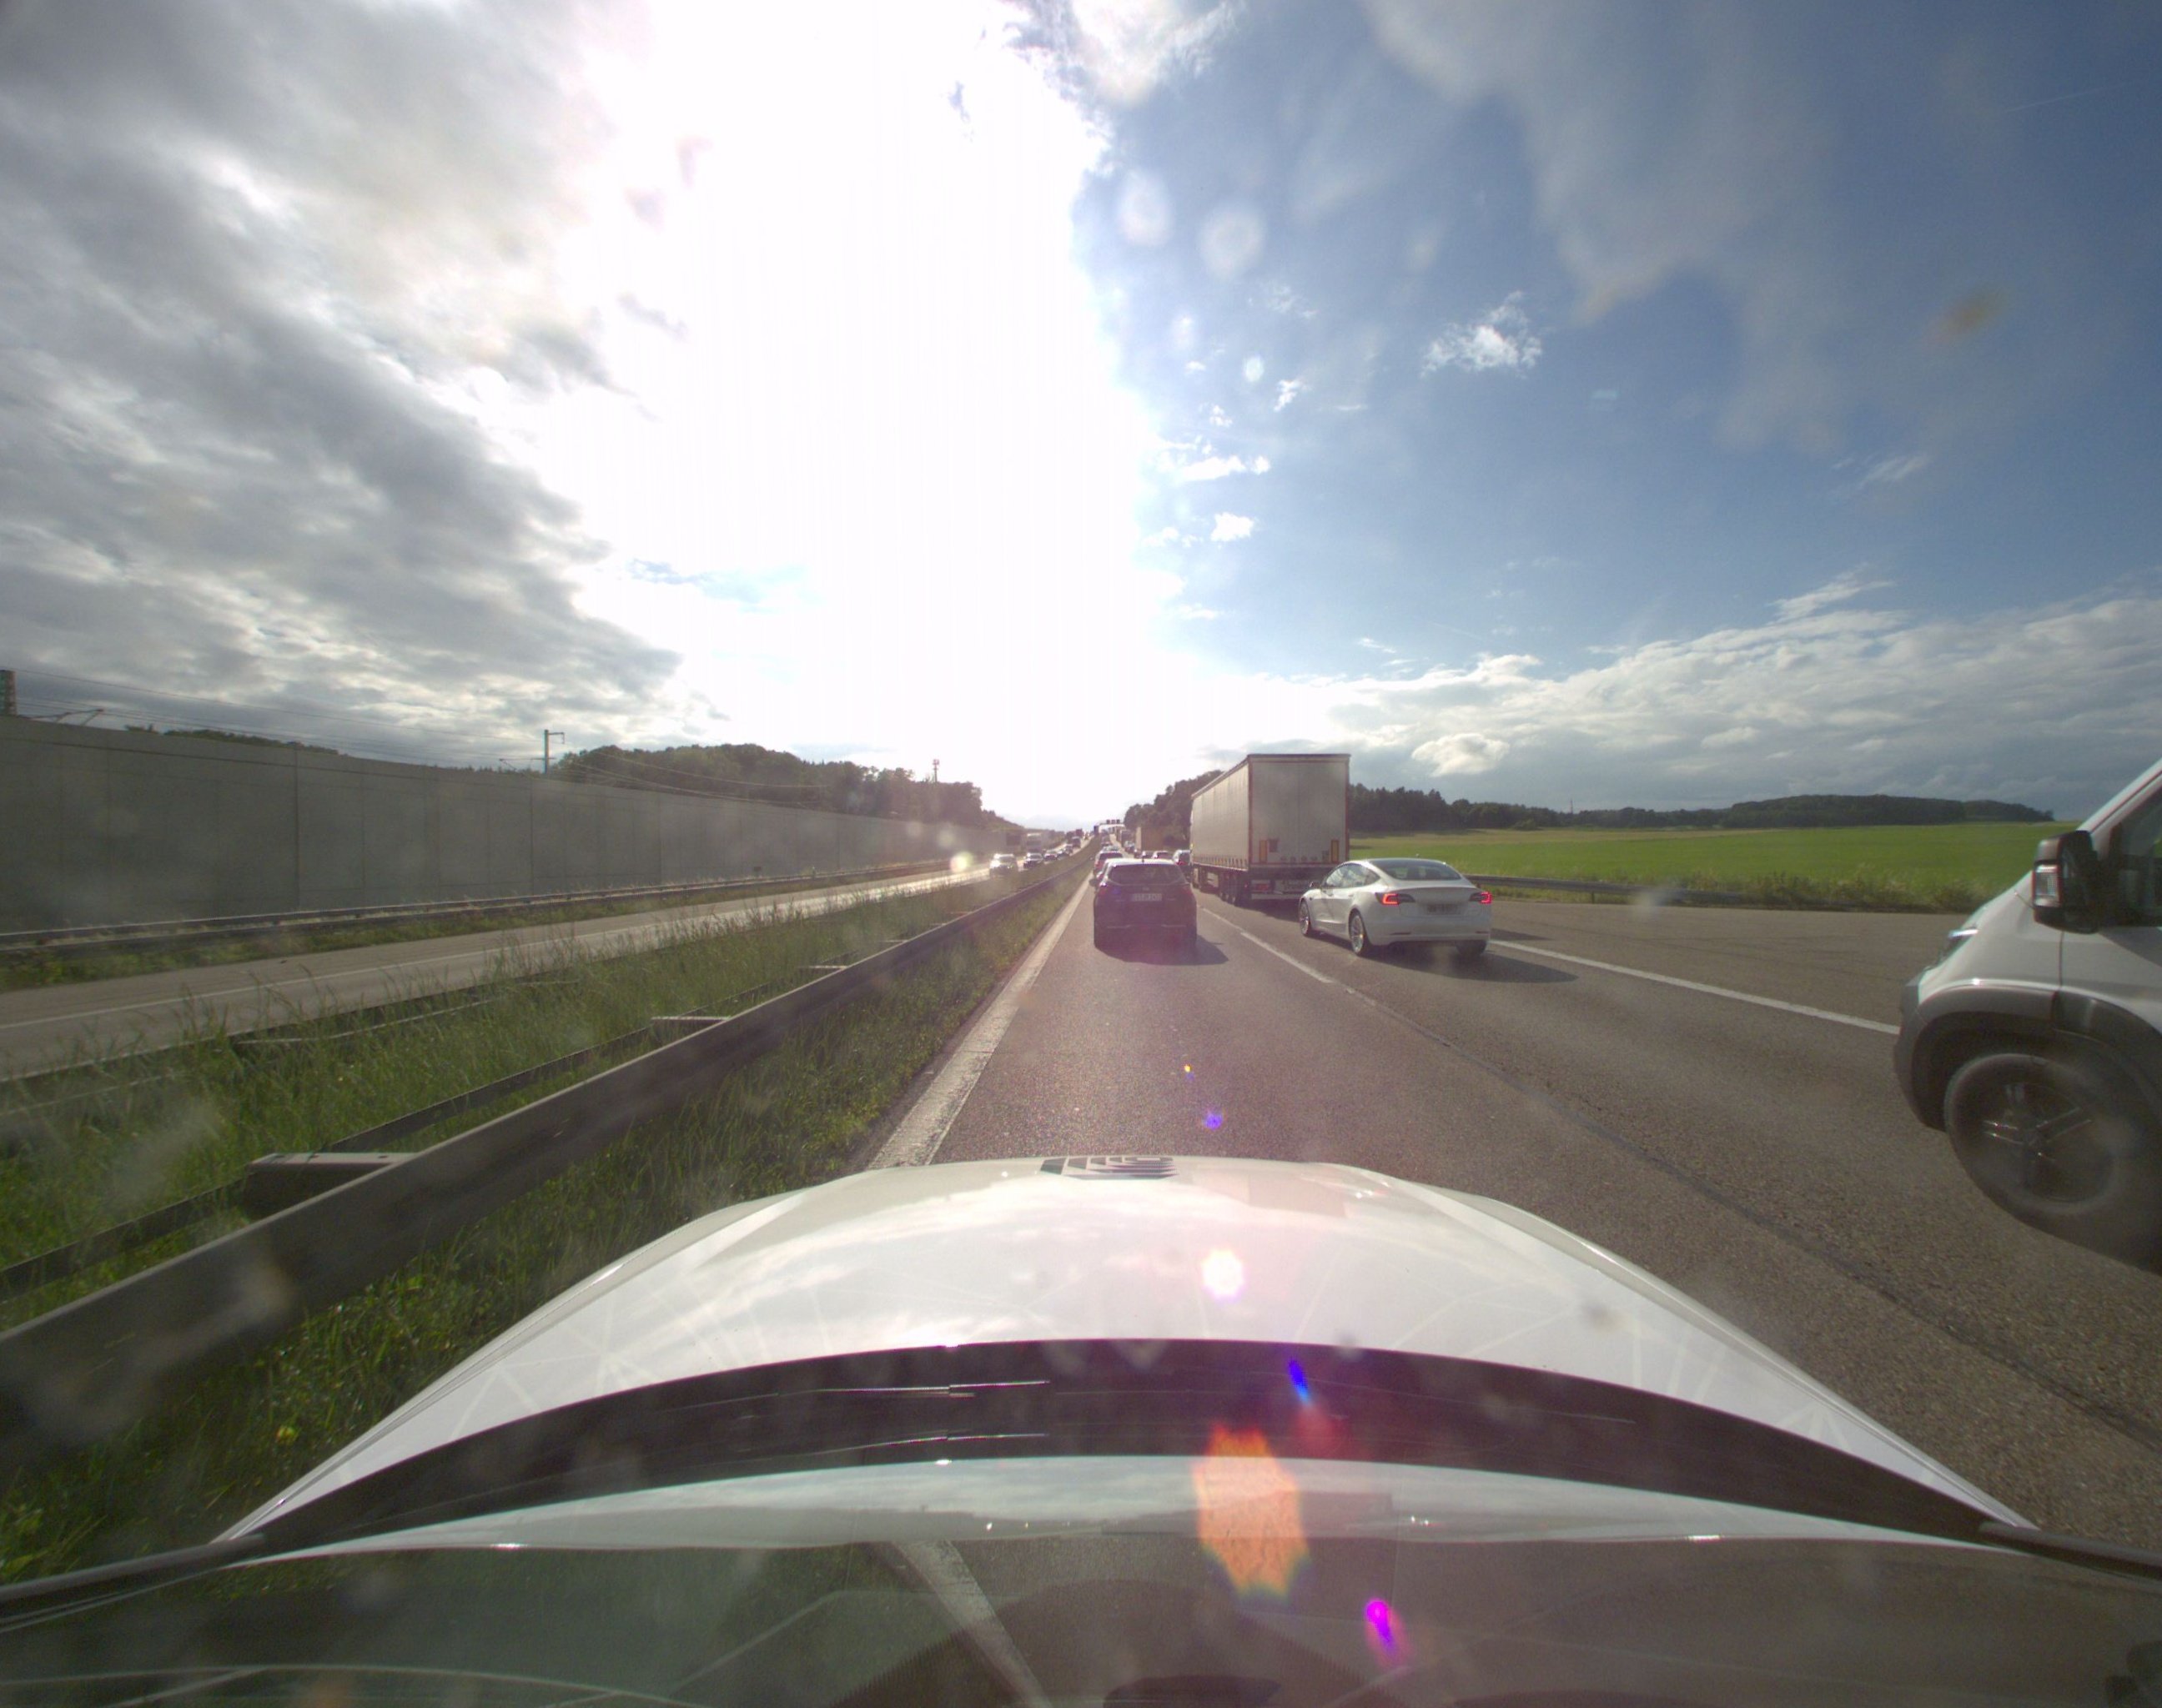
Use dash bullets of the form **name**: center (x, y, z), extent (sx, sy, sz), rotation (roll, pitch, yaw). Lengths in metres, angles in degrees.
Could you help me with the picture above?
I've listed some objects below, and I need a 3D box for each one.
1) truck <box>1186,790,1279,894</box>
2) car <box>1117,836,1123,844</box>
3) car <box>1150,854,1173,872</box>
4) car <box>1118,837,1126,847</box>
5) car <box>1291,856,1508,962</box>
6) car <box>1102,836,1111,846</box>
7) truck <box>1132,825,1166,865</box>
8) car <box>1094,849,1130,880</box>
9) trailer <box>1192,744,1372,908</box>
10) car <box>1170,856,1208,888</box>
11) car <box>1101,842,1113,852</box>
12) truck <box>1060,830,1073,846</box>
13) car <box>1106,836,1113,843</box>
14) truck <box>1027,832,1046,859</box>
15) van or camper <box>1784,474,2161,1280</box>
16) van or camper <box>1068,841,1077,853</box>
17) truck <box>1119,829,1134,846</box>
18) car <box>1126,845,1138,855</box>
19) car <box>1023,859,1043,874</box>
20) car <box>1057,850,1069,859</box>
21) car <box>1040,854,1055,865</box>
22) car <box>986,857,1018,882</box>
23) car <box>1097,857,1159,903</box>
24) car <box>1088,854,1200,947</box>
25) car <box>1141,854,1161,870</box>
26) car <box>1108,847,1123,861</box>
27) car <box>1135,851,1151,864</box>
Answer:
- **truck**: center (6.187, -0.420, 34.120), extent (3.121, 4.016, 5.166), rotation (-1, -1, 2)
- **car**: center (12.269, -4.421, 254.922), extent (1.866, 2.158, 5.214), rotation (-1, 2, 2)
- **car**: center (7.612, 0.869, 77.319), extent (1.866, 1.644, 4.234), rotation (-1, 0, 2)
- **car**: center (10.028, -2.985, 200.166), extent (1.866, 2.158, 5.214), rotation (-1, 2, 2)
- **car**: center (4.874, 0.743, 13.214), extent (1.783, 1.394, 4.436), rotation (-1, 0, 0)
- **car**: center (5.933, -3.089, 188.839), extent (1.866, 2.158, 5.214), rotation (-1, 2, 2)
- **truck**: center (8.296, -0.917, 100.451), extent (3.286, 4.577, 12.440), rotation (0, -1, 1)
- **car**: center (1.746, 0.567, 45.815), extent (1.866, 1.644, 4.234), rotation (-1, 0, 2)
- **trailer**: center (5.860, -0.551, 26.764), extent (3.118, 4.011, 13.373), rotation (-1, -1, 2)
- **car**: center (5.813, 0.941, 44.135), extent (1.690, 1.611, 4.440), rotation (-1, 0, 3)
- **car**: center (4.607, -1.252, 144.737), extent (1.867, 1.644, 4.233), rotation (-1, 1, 1)
- **truck**: center (-4.467, -5.035, 257.575), extent (3.284, 4.577, 12.445), rotation (-1, 0, 2)
- **car**: center (8.779, -4.555, 251.840), extent (1.866, 2.158, 5.214), rotation (-1, 2, 2)
- **truck**: center (-7.145, -1.289, 130.287), extent (2.371, 4.181, 5.934), rotation (-2, -1, 2)
- **van or camper**: center (4.656, 0.049, 0.976), extent (2.207, 2.681, 6.334), rotation (-1, 0, 1)
- **van or camper**: center (-2.107, -1.704, 202.362), extent (2.082, 2.819, 5.897), rotation (0, -1, 2)
- **truck**: center (12.472, -4.421, 225.445), extent (3.452, 4.577, 12.442), rotation (0, 1, 1)
- **car**: center (8.930, -0.695, 142.919), extent (1.868, 1.644, 4.230), rotation (-1, 1, -1)
- **car**: center (-4.923, 1.241, 83.753), extent (1.691, 1.499, 4.428), rotation (-1, 0, 1)
- **car**: center (-2.911, 0.099, 132.296), extent (1.735, 1.358, 4.234), rotation (-1, 0, 2)
- **car**: center (-4.604, 0.742, 112.483), extent (1.762, 1.479, 3.831), rotation (-1, -1, 2)
- **car**: center (-5.777, 1.086, 60.018), extent (1.774, 1.737, 4.104), rotation (-1, 0, 2)
- **car**: center (1.511, 0.810, 26.963), extent (1.866, 1.358, 4.234), rotation (-1, 0, 2)
- **car**: center (1.092, 0.766, 15.250), extent (1.766, 1.451, 4.234), rotation (-1, 0, 2)
- **car**: center (7.452, 0.859, 87.161), extent (1.866, 1.644, 4.234), rotation (-1, 0, 2)
- **car**: center (4.451, -0.041, 105.292), extent (1.866, 1.644, 4.235), rotation (-1, 1, 2)
- **car**: center (8.462, 0.498, 111.667), extent (1.867, 1.644, 4.231), rotation (-1, 0, 0)
